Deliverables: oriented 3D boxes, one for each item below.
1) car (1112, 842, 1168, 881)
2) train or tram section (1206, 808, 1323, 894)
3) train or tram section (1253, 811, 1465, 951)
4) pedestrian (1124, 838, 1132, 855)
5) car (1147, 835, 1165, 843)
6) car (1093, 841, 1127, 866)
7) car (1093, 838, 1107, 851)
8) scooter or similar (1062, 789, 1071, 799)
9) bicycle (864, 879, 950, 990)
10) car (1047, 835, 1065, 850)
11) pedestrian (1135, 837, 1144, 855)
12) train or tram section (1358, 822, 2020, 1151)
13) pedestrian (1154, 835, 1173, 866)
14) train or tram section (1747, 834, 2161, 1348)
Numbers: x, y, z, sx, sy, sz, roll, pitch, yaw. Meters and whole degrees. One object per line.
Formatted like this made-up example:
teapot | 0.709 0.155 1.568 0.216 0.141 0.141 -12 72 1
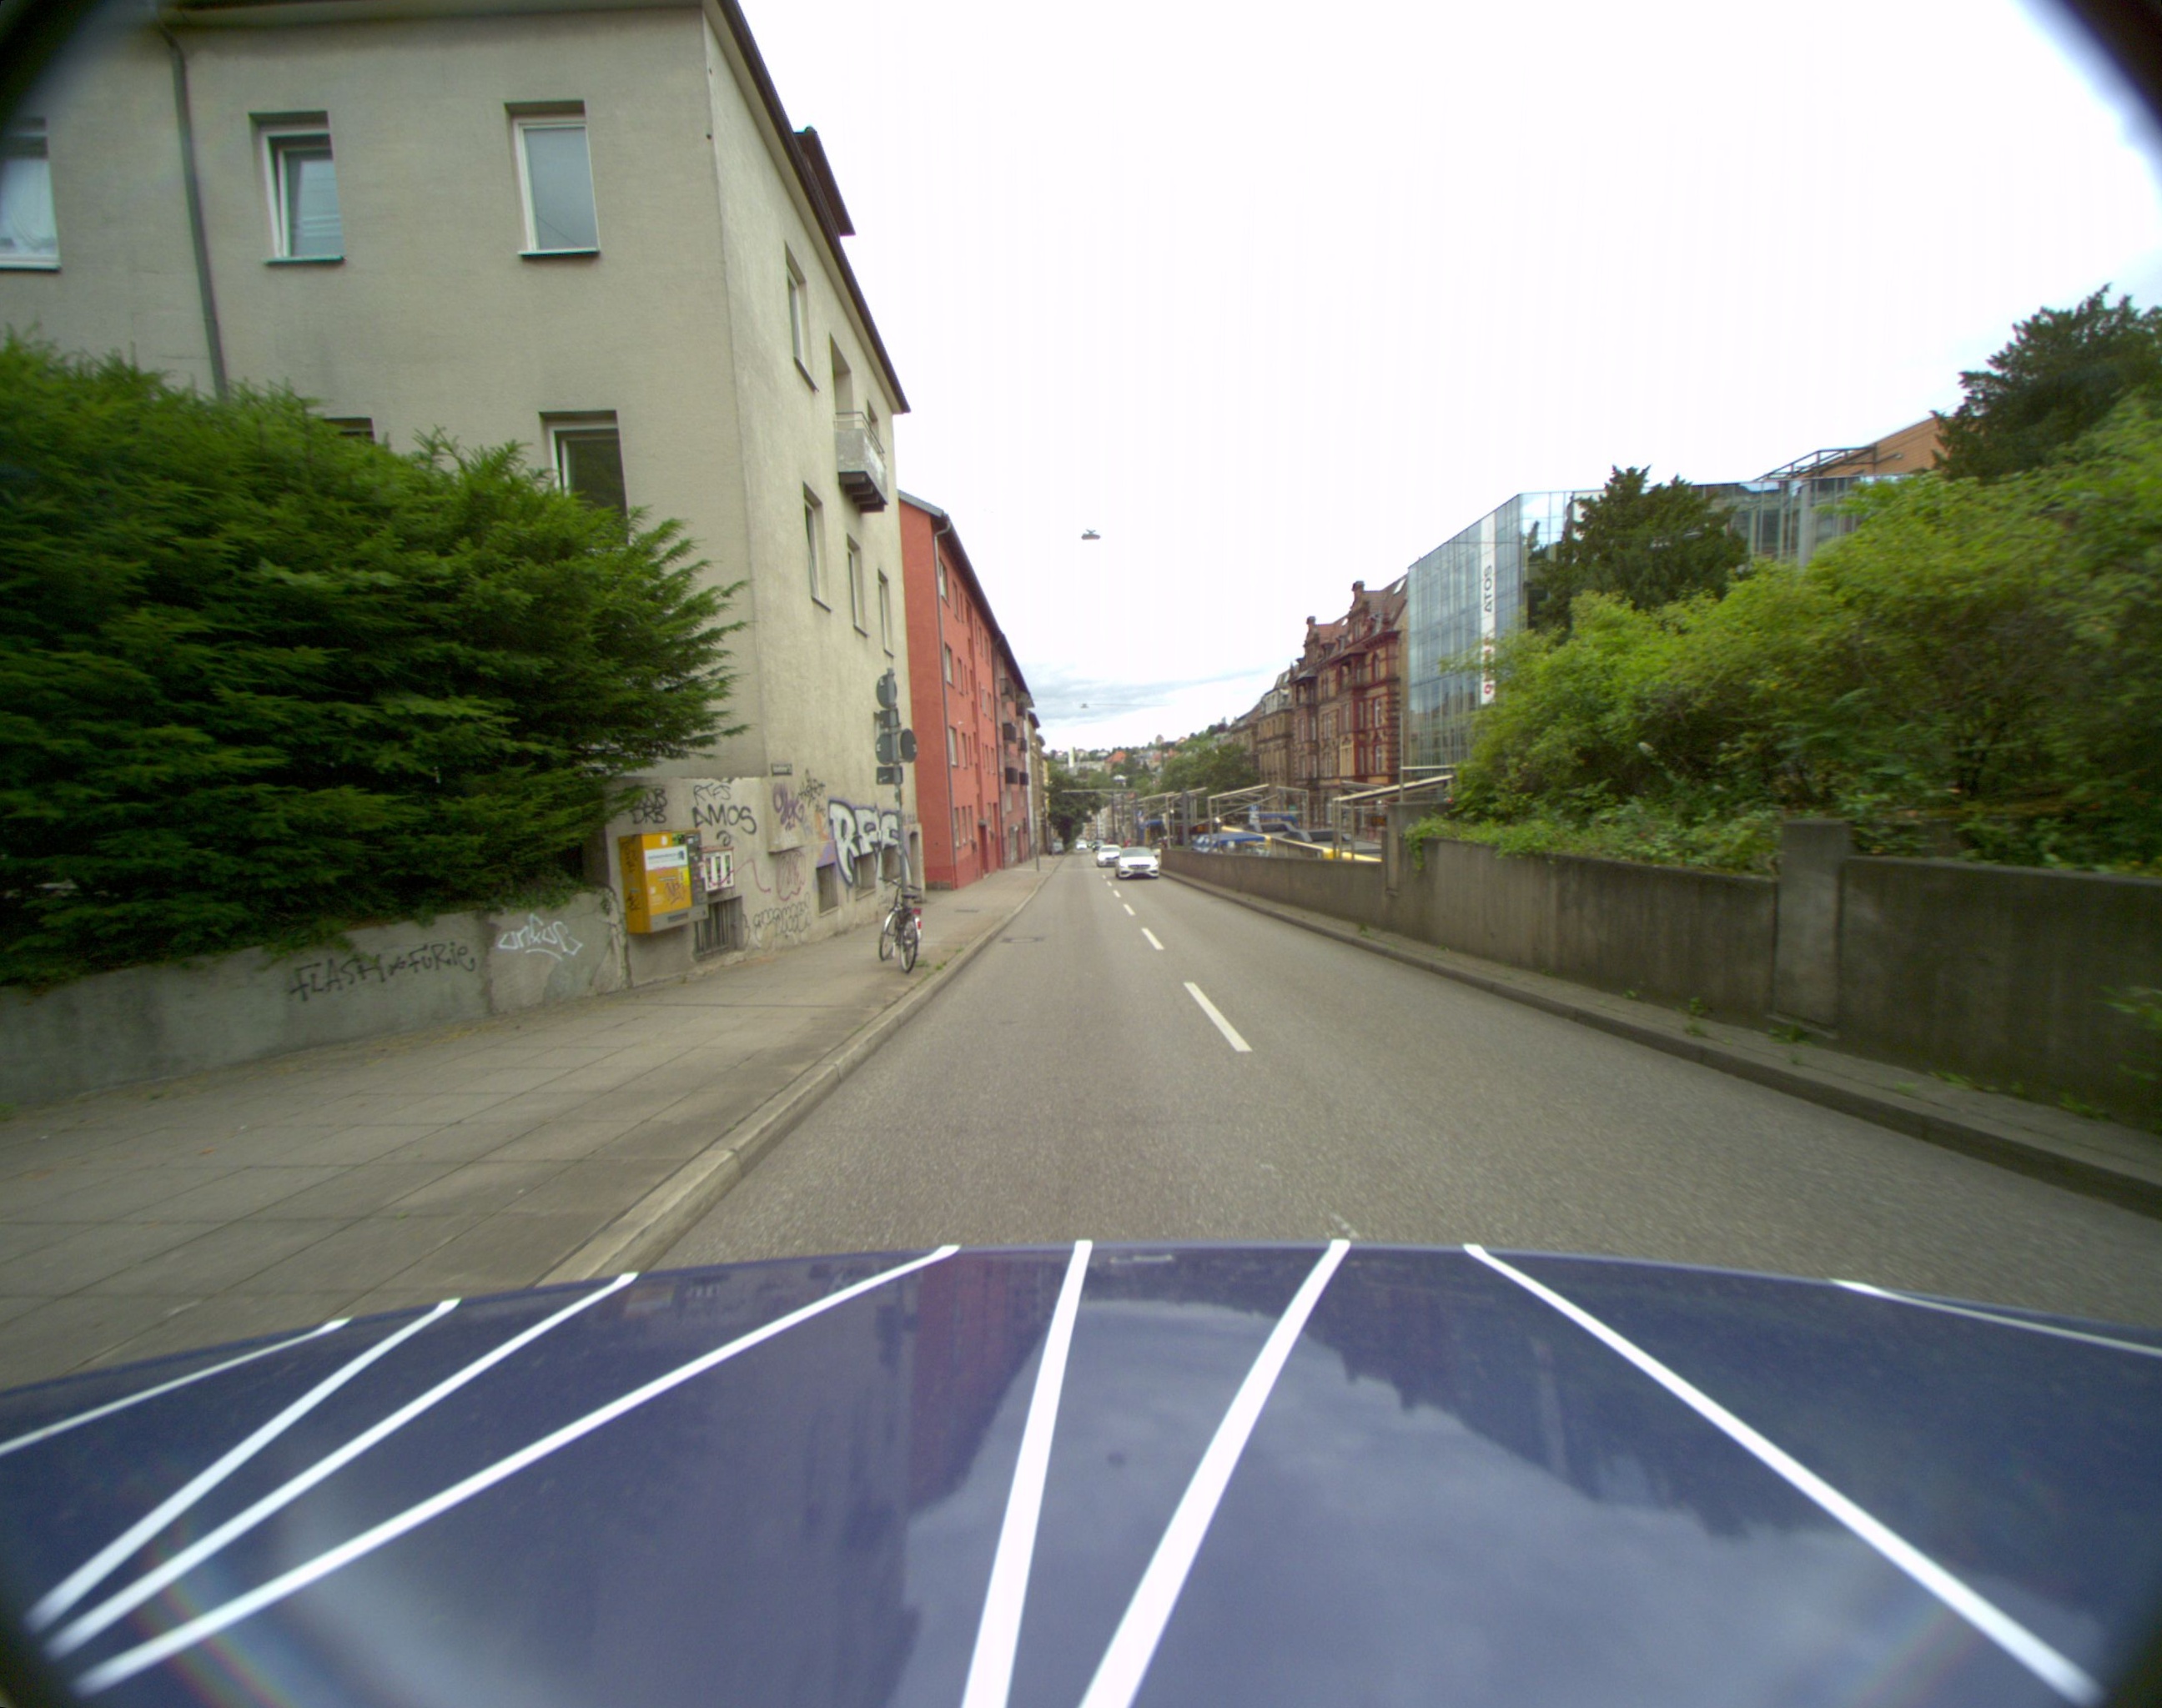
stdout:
car | 2.640 0.289 34.964 1.999 1.390 4.227 -4 3 -2
train or tram section | 8.973 -0.496 39.070 2.957 3.525 12.389 -3 4 0
train or tram section | 8.984 0.391 26.819 2.957 3.454 12.208 -2 5 0
pedestrian | 4.630 -0.767 74.955 0.680 1.671 0.685 -3 2 -2
car | 18.056 -3.603 182.477 3.860 1.804 1.782 -3 2 -15
car | 1.942 -0.074 52.149 1.999 1.479 4.228 -5 1 -1
car | 2.626 -1.350 106.435 1.881 1.728 3.999 -3 1 1
scooter or similar | -2.008 -8.193 104.284 1.199 1.266 0.629 1 2 -9
bicycle | -2.225 0.930 9.526 0.641 1.137 2.061 -2 1 -24
car | -2.953 -1.446 91.445 1.862 1.702 4.307 -1 1 1
pedestrian | 5.663 -0.764 73.214 0.623 1.686 0.659 -3 2 -9
train or tram section | 9.078 1.267 14.702 2.957 3.465 12.210 -2 3 0
pedestrian | 4.798 -0.201 44.215 0.818 1.767 0.802 -3 2 -10
train or tram section | 9.125 1.877 2.205 2.957 3.490 12.979 -2 3 0
